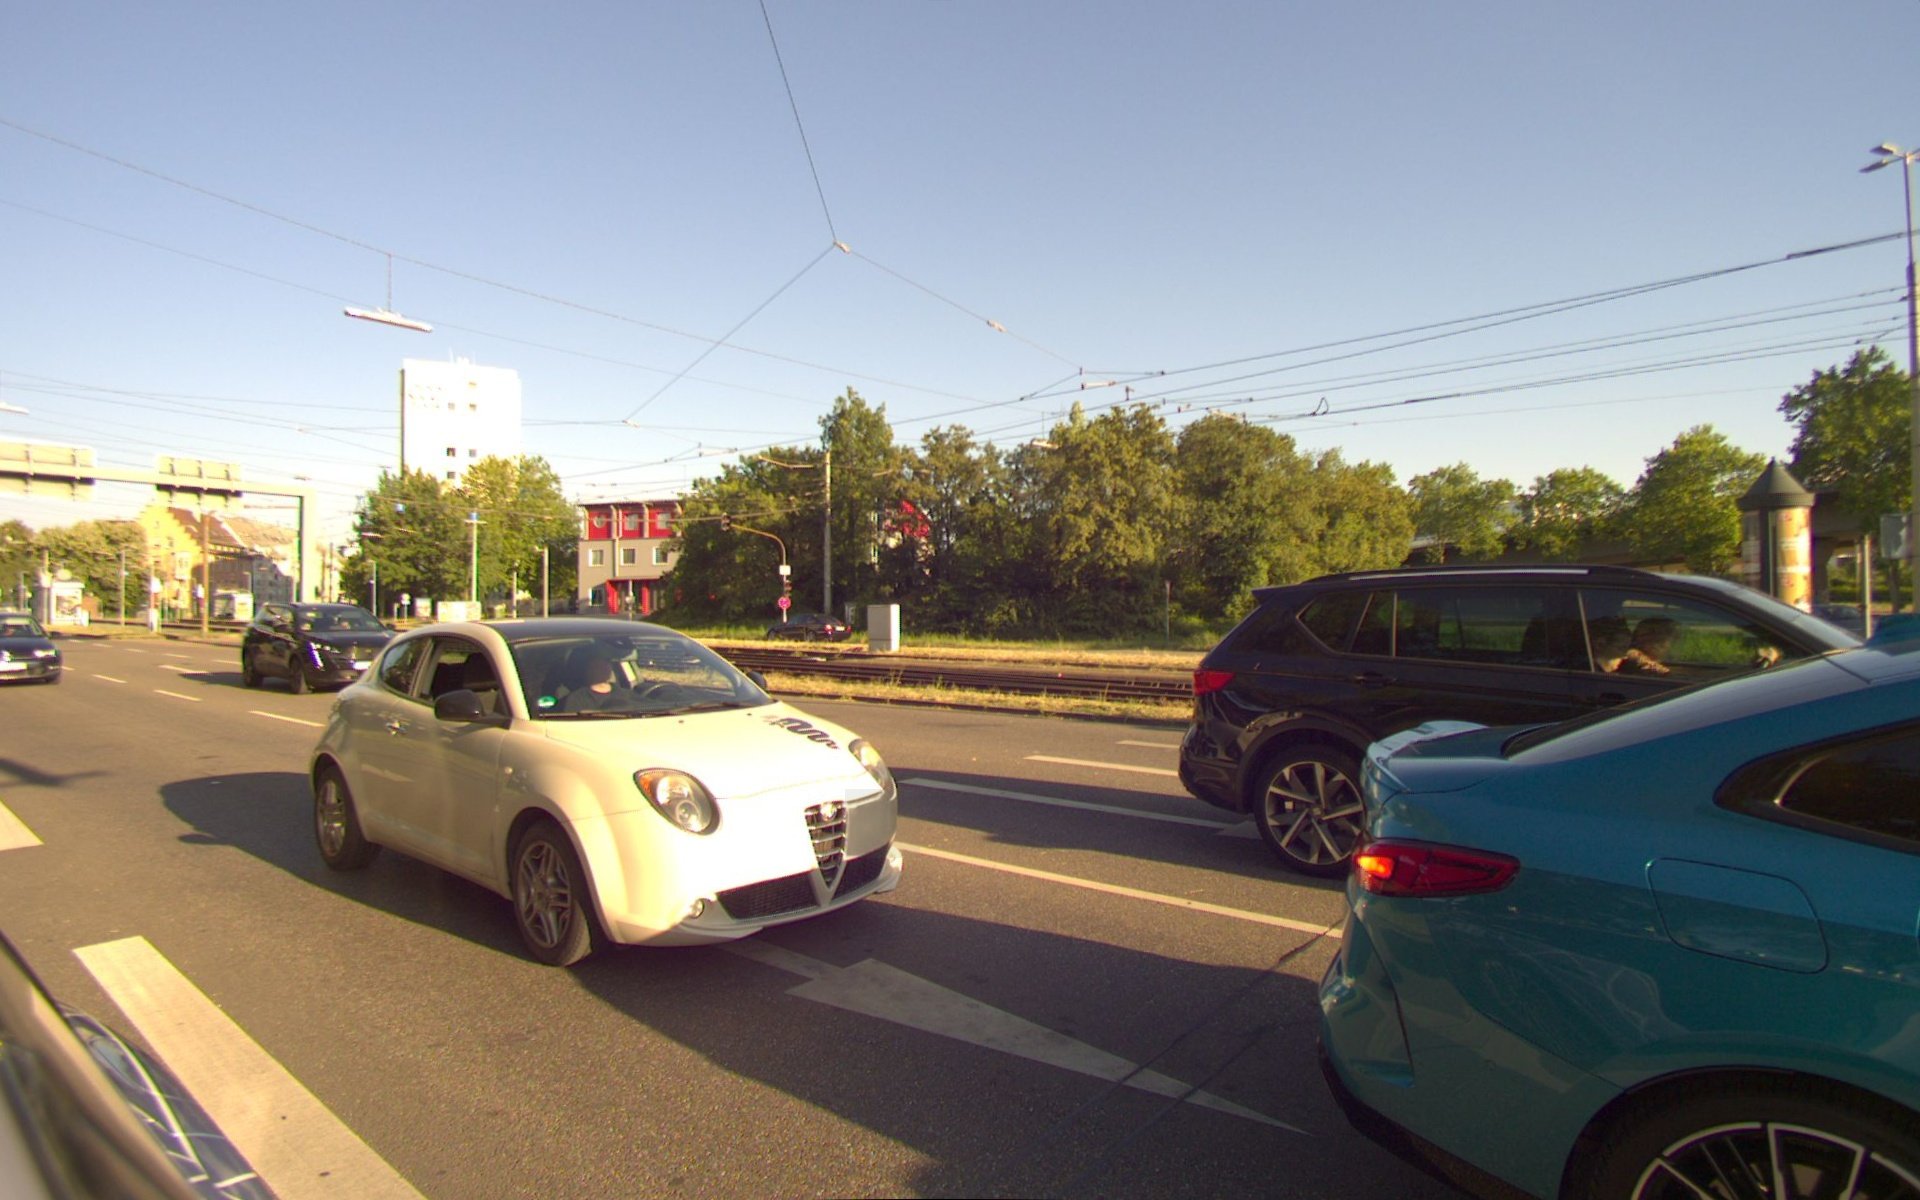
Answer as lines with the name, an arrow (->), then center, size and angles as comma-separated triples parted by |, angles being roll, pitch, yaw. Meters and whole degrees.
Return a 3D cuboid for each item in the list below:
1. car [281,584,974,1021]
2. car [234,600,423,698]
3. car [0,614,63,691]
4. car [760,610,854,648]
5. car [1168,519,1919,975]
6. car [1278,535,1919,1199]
car -> -2.006, 0.754, 5.477 | 3.997, 1.517, 1.719 | -1, -2, 40
car -> -12.166, 0.894, 19.400 | 4.274, 1.675, 1.881 | -1, -2, 41
car -> -19.591, 1.019, 20.370 | 3.997, 1.448, 1.719 | -1, -1, 40
car -> -7.315, 1.358, 48.155 | 4.752, 1.691, 1.731 | -1, -1, 40
car -> 3.524, 0.576, 5.033 | 4.623, 1.692, 1.794 | -2, -2, 42
car -> 2.838, 0.634, 1.489 | 4.201, 1.477, 1.697 | -1, -2, 38
